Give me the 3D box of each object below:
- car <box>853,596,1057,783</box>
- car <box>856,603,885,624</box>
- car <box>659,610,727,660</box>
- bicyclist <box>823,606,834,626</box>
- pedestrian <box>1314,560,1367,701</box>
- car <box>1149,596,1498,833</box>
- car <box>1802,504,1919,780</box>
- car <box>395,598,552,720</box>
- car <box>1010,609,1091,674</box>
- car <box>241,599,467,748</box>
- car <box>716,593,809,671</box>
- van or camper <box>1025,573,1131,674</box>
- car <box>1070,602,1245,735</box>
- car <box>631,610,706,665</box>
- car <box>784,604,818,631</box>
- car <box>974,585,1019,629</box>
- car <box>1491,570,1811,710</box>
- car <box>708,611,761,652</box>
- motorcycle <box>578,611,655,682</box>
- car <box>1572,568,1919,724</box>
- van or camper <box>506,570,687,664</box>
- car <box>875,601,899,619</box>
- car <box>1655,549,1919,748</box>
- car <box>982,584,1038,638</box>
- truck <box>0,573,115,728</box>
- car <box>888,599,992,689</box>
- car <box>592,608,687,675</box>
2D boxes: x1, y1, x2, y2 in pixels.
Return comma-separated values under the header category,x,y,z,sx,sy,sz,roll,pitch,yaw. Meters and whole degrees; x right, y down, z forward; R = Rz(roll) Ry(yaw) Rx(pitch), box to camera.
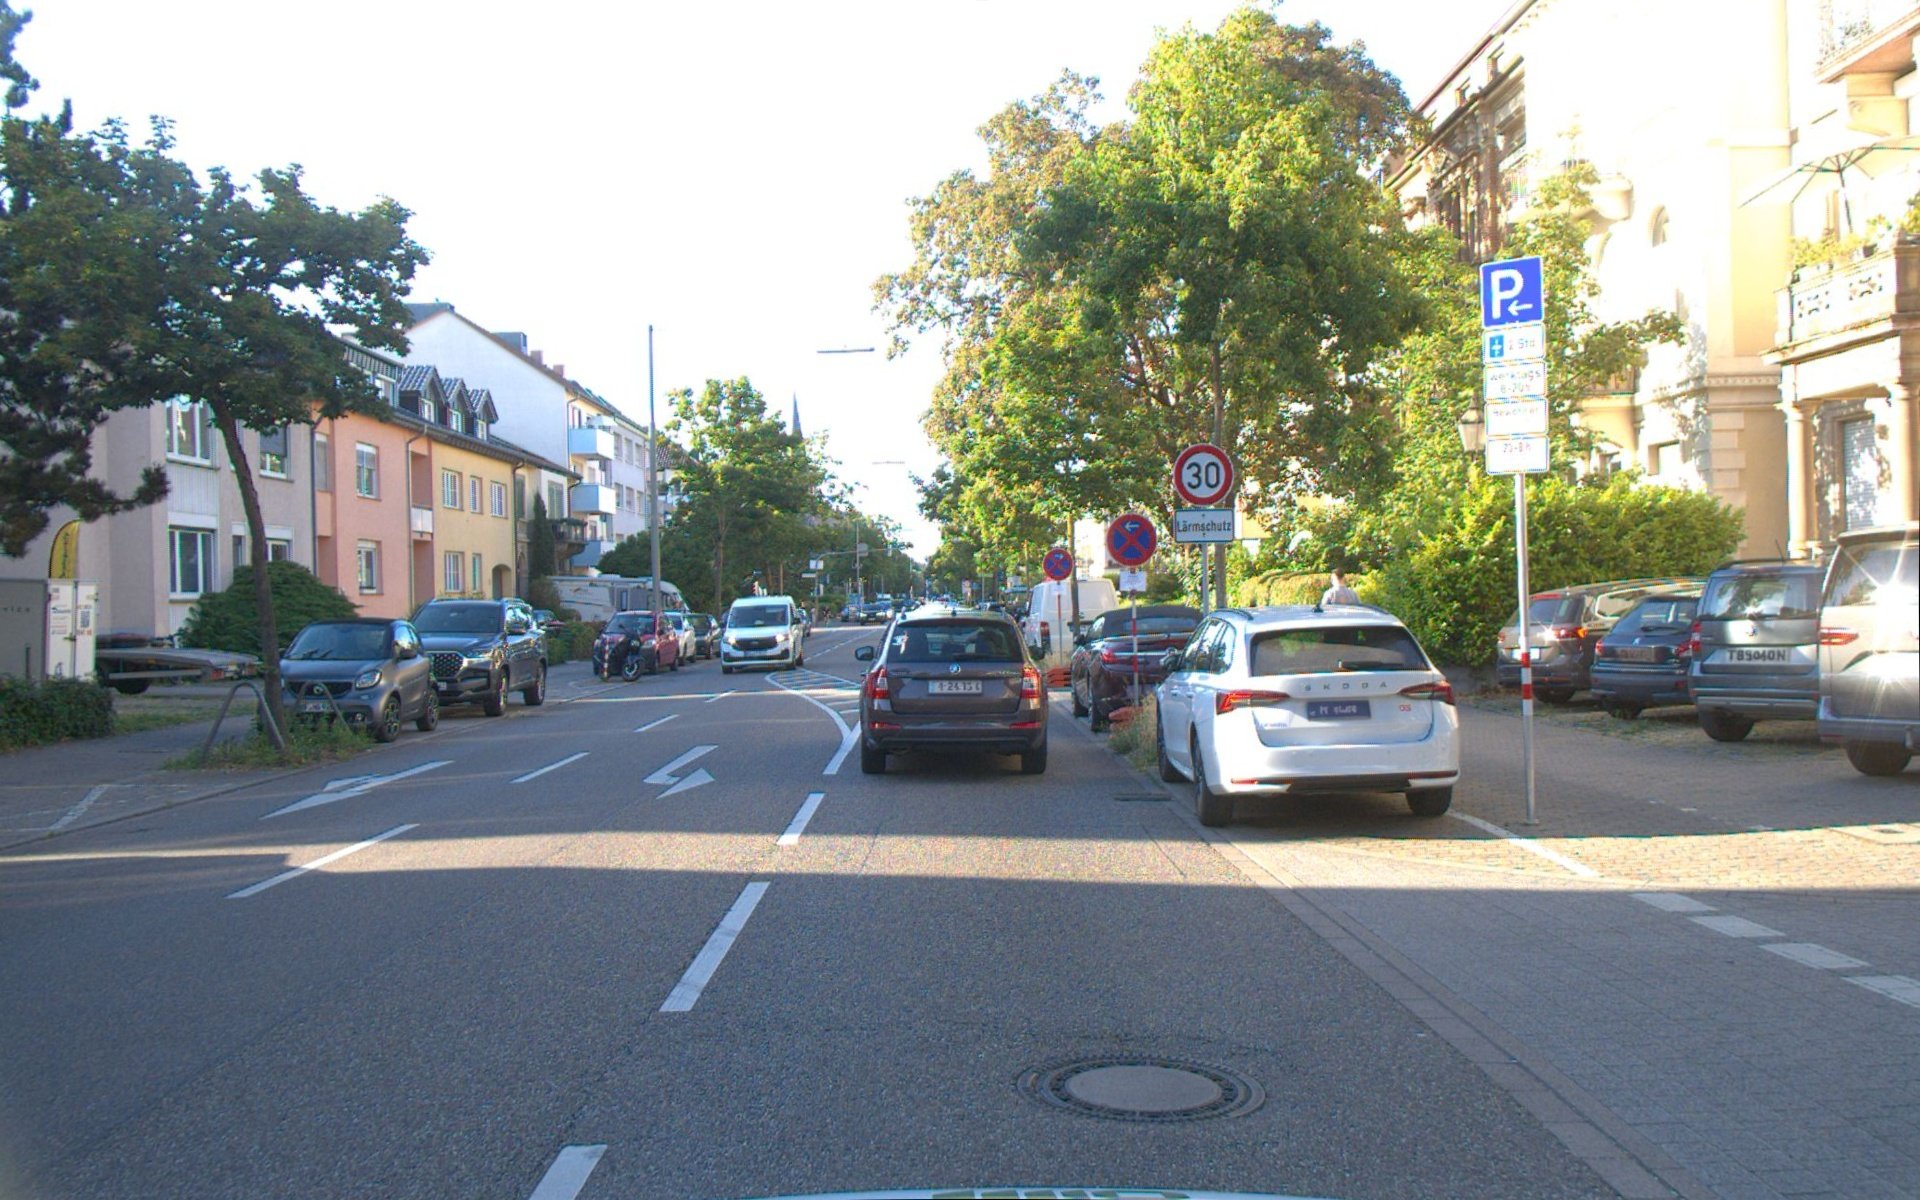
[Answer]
category,x,y,z,sx,sy,sz,roll,pitch,yaw
car,-0.052,0.755,15.971,1.694,1.520,3.950,-1,0,0
car,-6.847,1.014,126.804,1.953,1.534,3.999,-1,0,-1
car,-8.432,1.079,52.412,1.630,1.457,3.274,-1,0,-1
bicyclist,-9.878,1.211,124.039,0.700,1.522,0.855,-1,0,-1
pedestrian,5.035,0.394,21.927,0.524,1.825,0.687,-1,0,1
car,2.527,0.718,12.491,1.783,1.438,4.112,-1,0,1
car,8.686,0.236,12.553,4.482,1.926,1.896,-2,0,-29
car,-7.815,0.889,26.894,1.476,1.788,3.693,-1,0,-1
car,2.298,1.049,42.902,1.695,1.520,3.949,-1,0,-2
car,-8.018,0.909,22.224,1.714,1.771,3.590,-1,0,-1
car,-4.880,0.752,41.311,1.838,1.788,4.178,-1,0,-1
van or camper,2.530,0.469,36.392,1.953,2.049,3.999,-1,0,-1
car,2.394,0.784,20.974,1.783,1.438,4.112,-1,0,1
car,-8.397,1.056,47.868,1.630,1.457,3.274,-1,0,-1
car,-9.014,0.964,93.964,1.630,1.457,3.274,-1,0,-1
car,1.549,0.284,72.164,1.695,1.847,3.949,-1,0,-2
car,8.638,0.455,20.672,3.748,1.552,1.501,-2,0,-23
car,-8.654,1.177,63.656,1.630,1.457,3.274,-1,0,-1
motorcycle,-7.745,1.037,37.276,0.760,1.538,1.998,-1,0,-43
car,8.869,0.465,18.553,3.748,1.552,1.501,-2,0,-23
van or camper,-16.043,0.720,73.273,7.487,3.942,1.999,-1,0,-3
car,-6.352,0.887,144.187,1.953,1.534,3.999,-1,0,-1
car,8.558,0.388,15.933,3.761,1.708,1.496,-2,0,-31
car,1.766,0.371,59.676,1.695,1.847,3.949,-1,0,-2
truck,-13.899,0.717,23.566,2.854,2.130,1.546,-1,0,-2
car,-0.440,0.776,31.237,1.695,1.520,3.947,-1,0,-4
car,-8.114,1.010,42.184,1.630,1.538,4.178,-1,0,-1
